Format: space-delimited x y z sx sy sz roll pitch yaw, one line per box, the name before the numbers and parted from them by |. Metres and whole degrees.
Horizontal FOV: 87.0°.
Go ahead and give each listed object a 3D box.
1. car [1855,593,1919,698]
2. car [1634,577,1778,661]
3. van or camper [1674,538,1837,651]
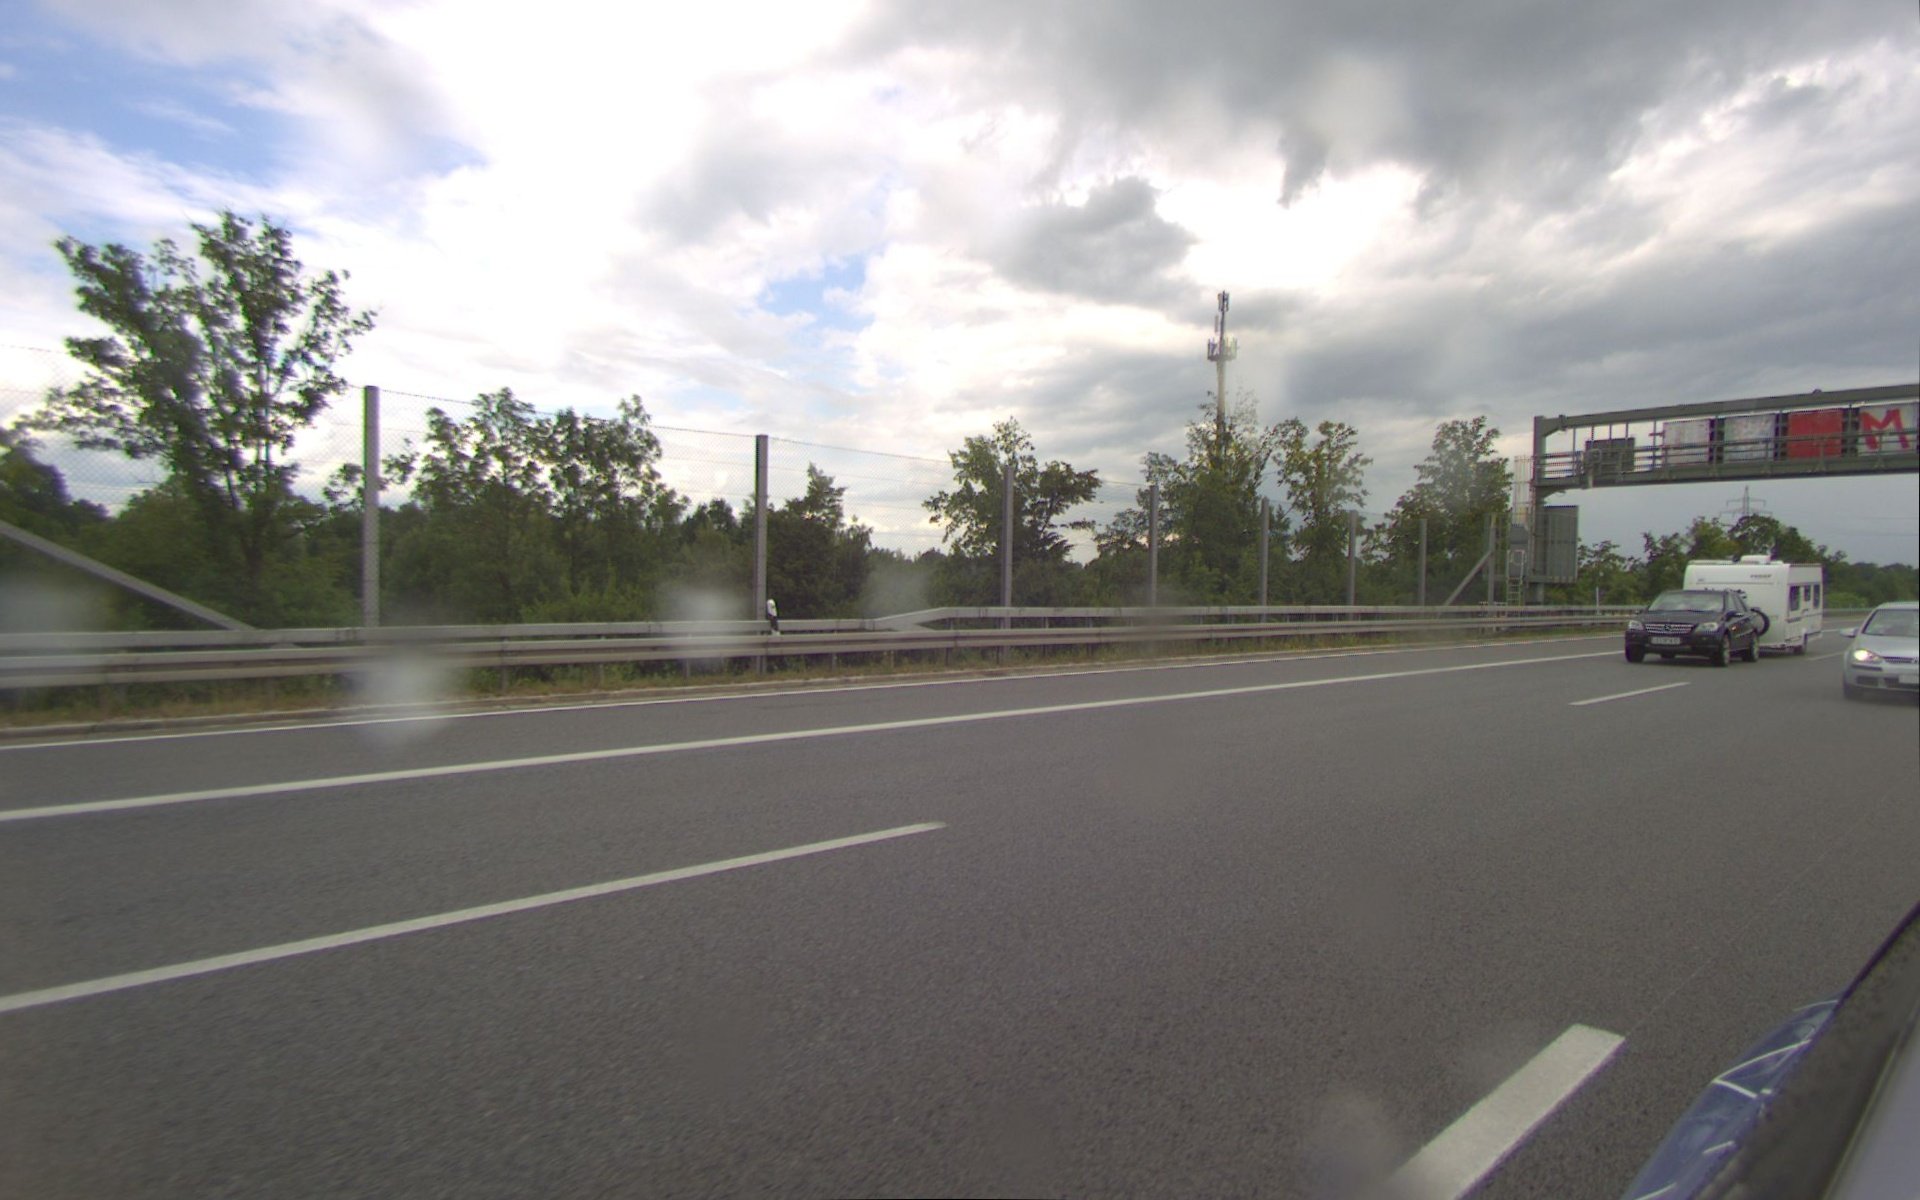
car | 15.087 0.646 15.479 3.931 1.464 1.681 0 0 -42
car | 17.796 0.399 24.077 4.425 1.798 1.923 0 0 -42
van or camper | 22.089 -0.141 27.947 7.085 2.773 2.387 0 0 -42
